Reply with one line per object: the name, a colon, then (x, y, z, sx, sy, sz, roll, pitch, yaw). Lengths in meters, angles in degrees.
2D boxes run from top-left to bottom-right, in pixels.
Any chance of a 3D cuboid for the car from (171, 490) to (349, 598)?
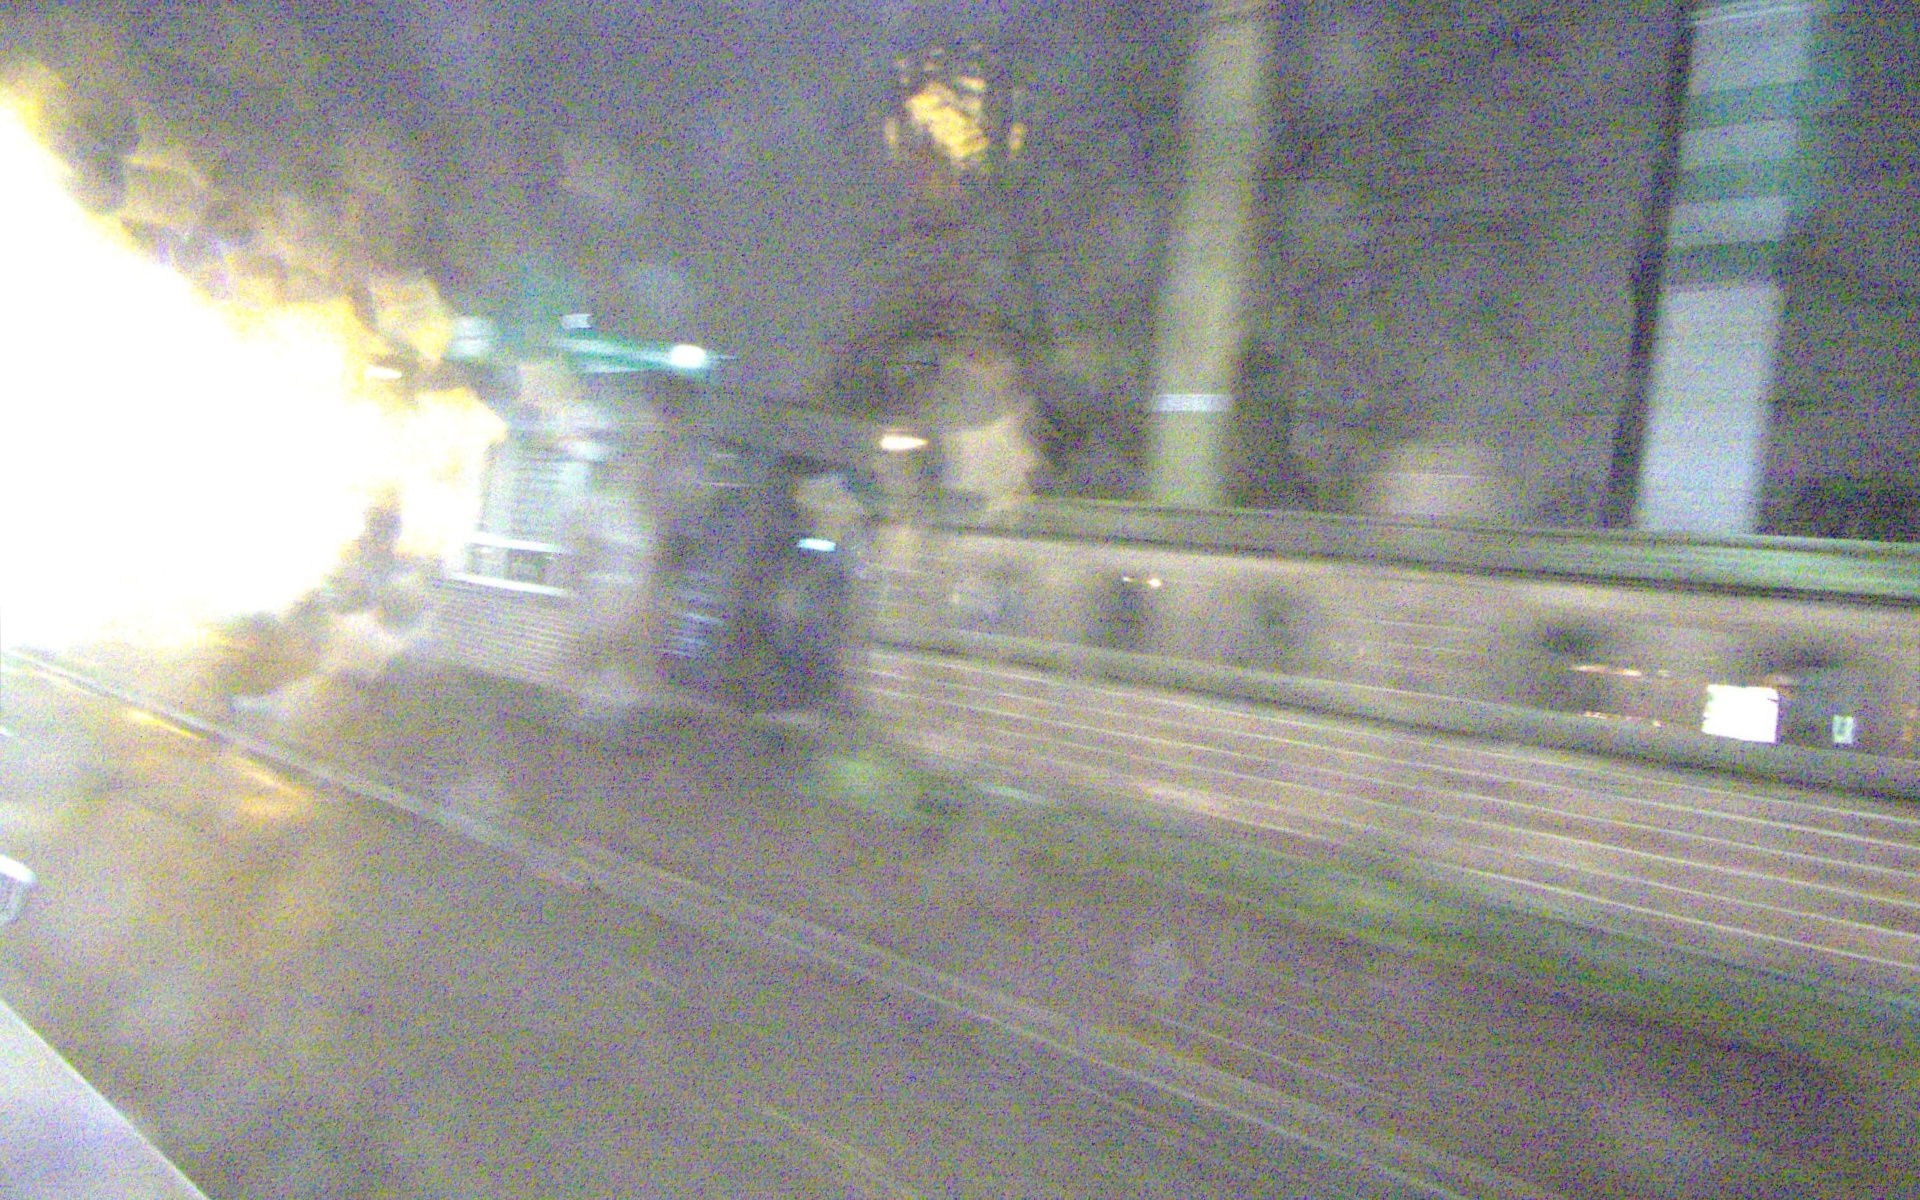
car: (-14.129, -1.097, 20.600, 2.004, 1.720, 4.100, 7, -1, -23)
